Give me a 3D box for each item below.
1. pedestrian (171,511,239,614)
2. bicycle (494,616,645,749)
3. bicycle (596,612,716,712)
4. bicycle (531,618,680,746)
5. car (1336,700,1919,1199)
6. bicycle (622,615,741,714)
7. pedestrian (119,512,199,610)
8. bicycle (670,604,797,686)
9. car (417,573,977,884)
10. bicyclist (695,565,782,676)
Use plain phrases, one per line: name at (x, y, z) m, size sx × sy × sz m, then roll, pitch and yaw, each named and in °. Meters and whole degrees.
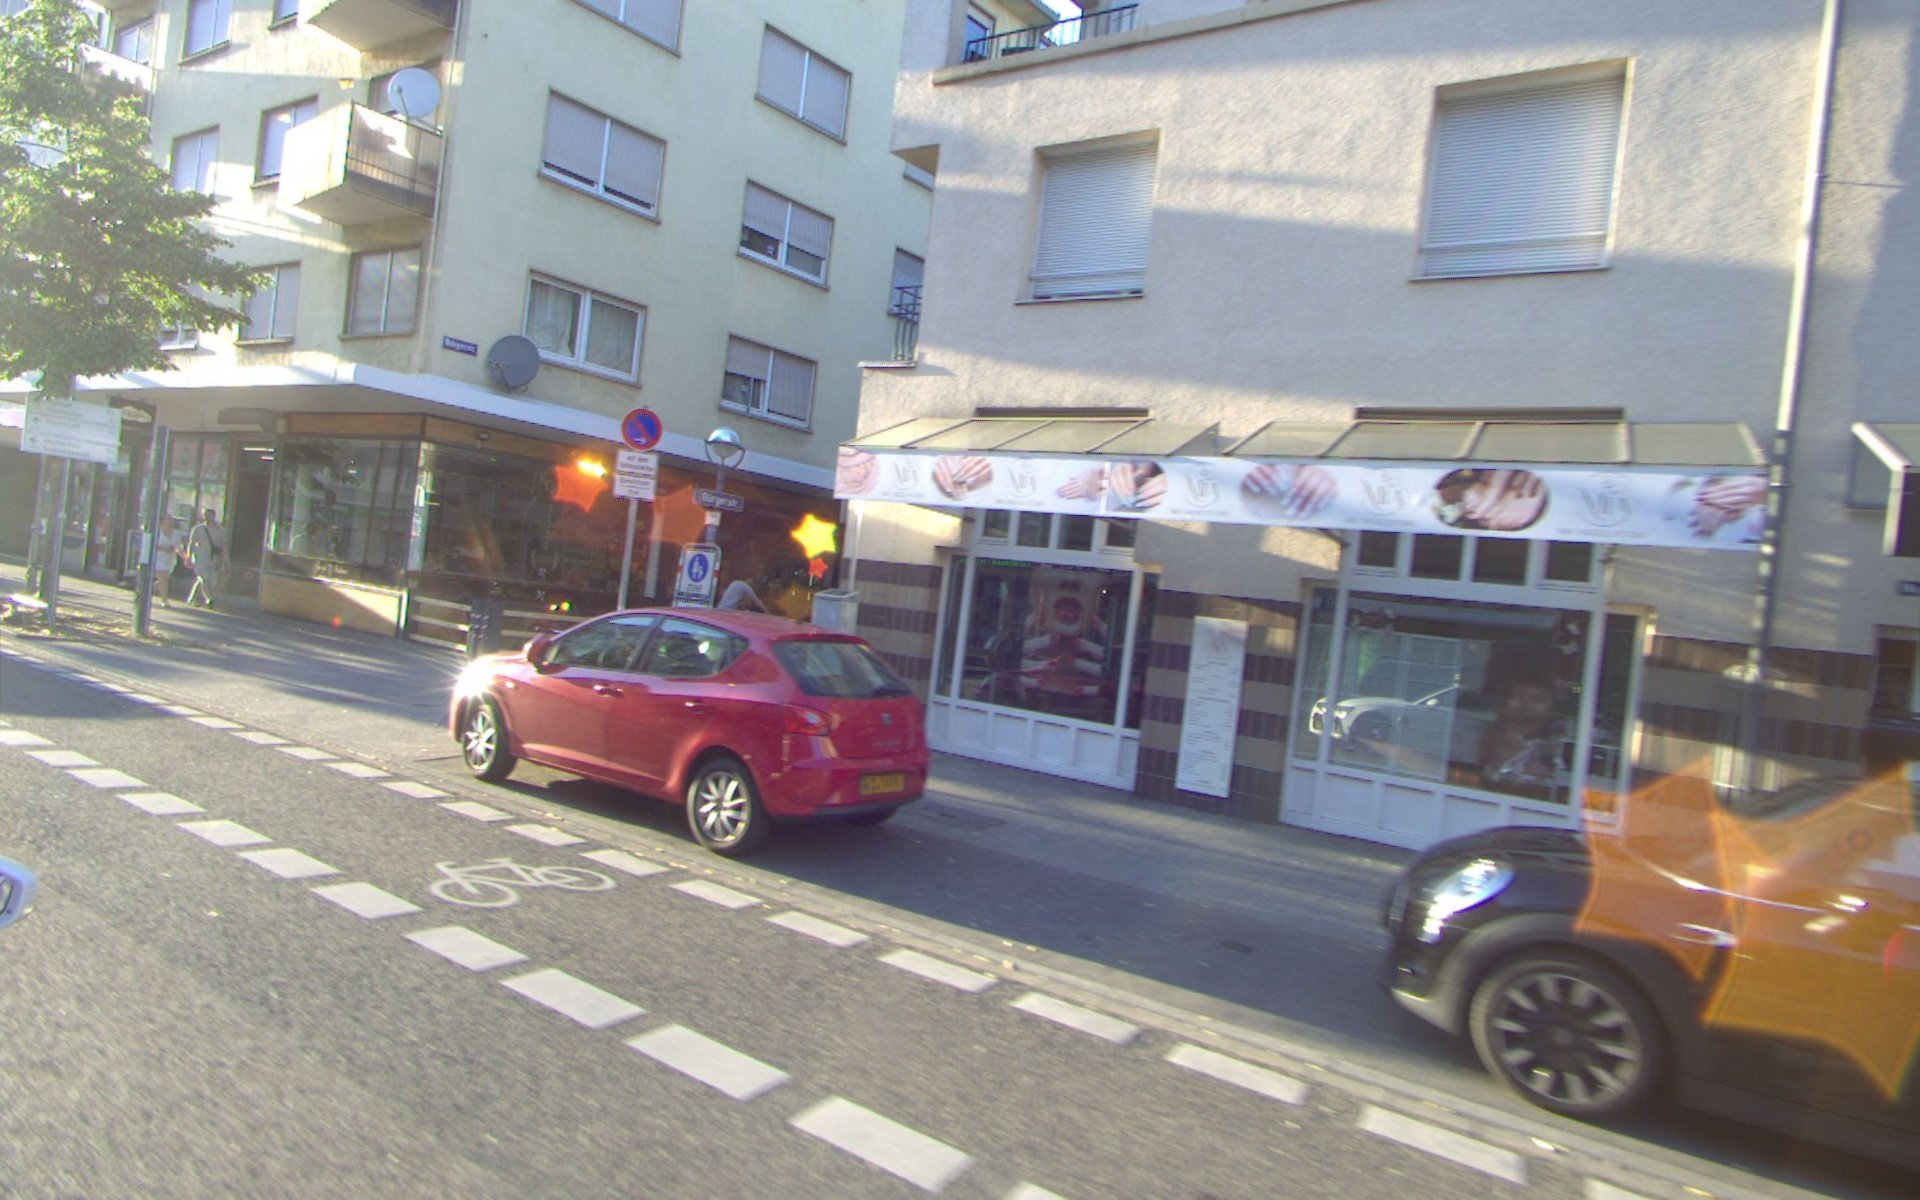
pedestrian at (-13.528, -0.671, 18.032) m, size 0.706 × 1.743 × 0.687 m, roll 7°, pitch 1°, yaw 37°
bicycle at (-3.832, 0.778, 9.820) m, size 1.688 × 1.051 × 0.292 m, roll 7°, pitch 0°, yaw 31°
bicycle at (-3.890, 0.777, 12.808) m, size 1.688 × 1.051 × 0.288 m, roll 7°, pitch 0°, yaw 31°
bicycle at (-3.611, 0.802, 10.189) m, size 1.688 × 1.051 × 0.305 m, roll 7°, pitch 0°, yaw 31°
car at (3.654, 1.403, 4.009) m, size 3.695 × 1.442 × 1.635 m, roll 7°, pitch 0°, yaw 31°
bicycle at (-3.609, 0.820, 12.983) m, size 1.688 × 1.051 × 0.288 m, roll 7°, pitch 0°, yaw 31°
pedestrian at (-13.947, -0.680, 17.519) m, size 0.848 × 1.578 × 0.689 m, roll 7°, pitch 0°, yaw 29°
bicycle at (-3.772, 0.774, 16.873) m, size 1.919 × 1.169 × 0.645 m, roll 8°, pitch -1°, yaw -43°
car at (-2.026, 0.749, 7.420) m, size 3.867 × 1.454 × 1.705 m, roll 6°, pitch 0°, yaw 32°
bicyclist at (-3.712, 0.354, 16.881) m, size 1.088 × 1.723 × 0.645 m, roll 7°, pitch 0°, yaw -43°
